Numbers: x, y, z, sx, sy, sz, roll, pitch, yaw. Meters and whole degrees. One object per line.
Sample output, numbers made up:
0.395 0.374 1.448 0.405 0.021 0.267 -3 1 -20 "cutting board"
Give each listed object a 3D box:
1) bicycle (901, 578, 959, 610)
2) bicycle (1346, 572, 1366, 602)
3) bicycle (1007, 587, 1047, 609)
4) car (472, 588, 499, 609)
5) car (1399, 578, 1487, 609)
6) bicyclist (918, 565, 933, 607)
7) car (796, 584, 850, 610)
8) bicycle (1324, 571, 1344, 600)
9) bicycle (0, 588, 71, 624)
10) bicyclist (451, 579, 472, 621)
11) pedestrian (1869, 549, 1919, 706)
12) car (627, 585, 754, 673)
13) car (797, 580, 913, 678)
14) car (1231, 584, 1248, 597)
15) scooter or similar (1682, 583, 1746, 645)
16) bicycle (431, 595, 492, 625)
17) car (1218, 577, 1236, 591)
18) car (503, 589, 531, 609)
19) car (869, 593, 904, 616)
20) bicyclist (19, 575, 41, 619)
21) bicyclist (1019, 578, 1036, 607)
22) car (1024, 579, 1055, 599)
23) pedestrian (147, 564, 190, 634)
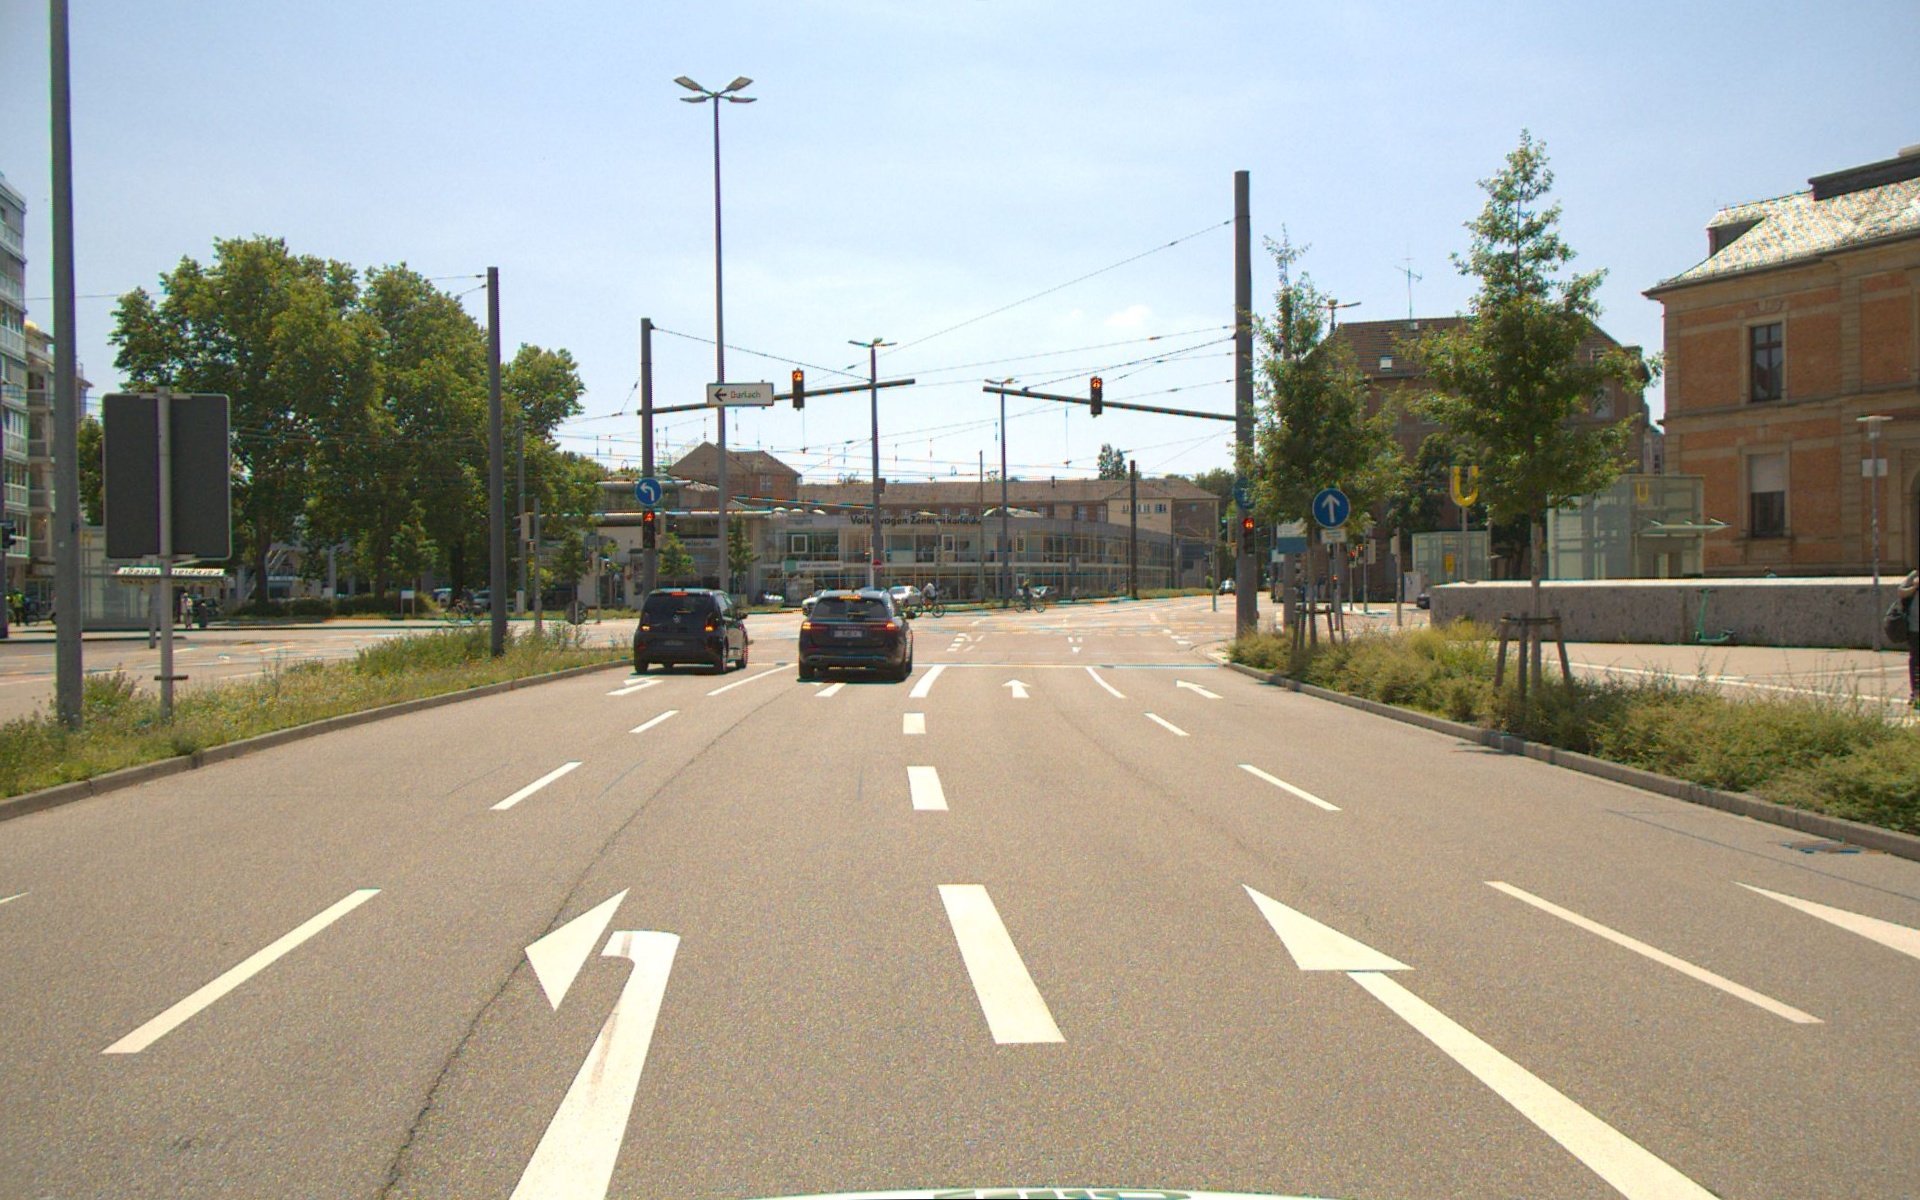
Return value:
-1.428 -0.300 79.815 2.768 1.488 0.634 0 2 -1 "bicycle"
25.890 -0.868 108.222 0.599 1.819 3.183 0 2 2 "bicycle"
3.600 -0.102 88.806 2.126 1.126 0.455 0 2 -17 "bicycle"
-37.618 -0.142 131.245 1.397 1.534 3.436 0 2 -4 "car"
24.300 -0.358 83.194 4.038 1.476 1.689 -1 2 -18 "car"
-1.660 -0.682 79.754 0.747 1.971 0.660 0 2 0 "bicyclist"
-7.701 -0.177 93.470 1.585 1.414 4.126 0 0 18 "car"
24.489 -0.955 108.333 0.599 1.819 3.183 0 2 2 "bicycle"
-45.183 0.301 80.487 0.805 1.623 3.301 2 3 44 "bicycle"
-23.922 -0.001 79.425 0.829 1.999 0.626 0 2 -6 "bicyclist"
10.824 0.301 18.636 0.717 1.735 0.811 0 1 2 "pedestrian"
-4.865 0.490 30.348 1.587 1.489 4.001 0 0 1 "car"
-1.788 0.464 29.338 1.681 1.584 4.587 0 0 1 "car"
35.566 -1.199 210.369 1.552 1.555 3.717 0 2 2 "car"
15.399 0.276 33.817 0.391 1.187 1.282 -1 2 -21 "scooter or similar"
-23.948 0.487 79.430 2.721 1.409 0.670 0 2 -6 "bicycle"
30.240 -1.863 187.271 1.499 1.484 3.553 0 2 1 "car"
-35.006 -0.089 130.745 1.480 1.443 3.419 0 2 -4 "car"
-4.672 0.271 105.688 1.401 1.308 3.265 1 2 13 "car"
-45.235 -0.152 80.422 0.763 2.142 0.734 2 3 43 "bicyclist"
3.634 -0.412 88.820 0.720 1.505 0.653 0 2 -17 "bicyclist"
6.298 -0.891 130.522 1.538 1.452 3.615 1 2 18 "car"
-34.051 -0.061 71.144 1.189 2.989 1.336 0 2 -2 "pedestrian"
